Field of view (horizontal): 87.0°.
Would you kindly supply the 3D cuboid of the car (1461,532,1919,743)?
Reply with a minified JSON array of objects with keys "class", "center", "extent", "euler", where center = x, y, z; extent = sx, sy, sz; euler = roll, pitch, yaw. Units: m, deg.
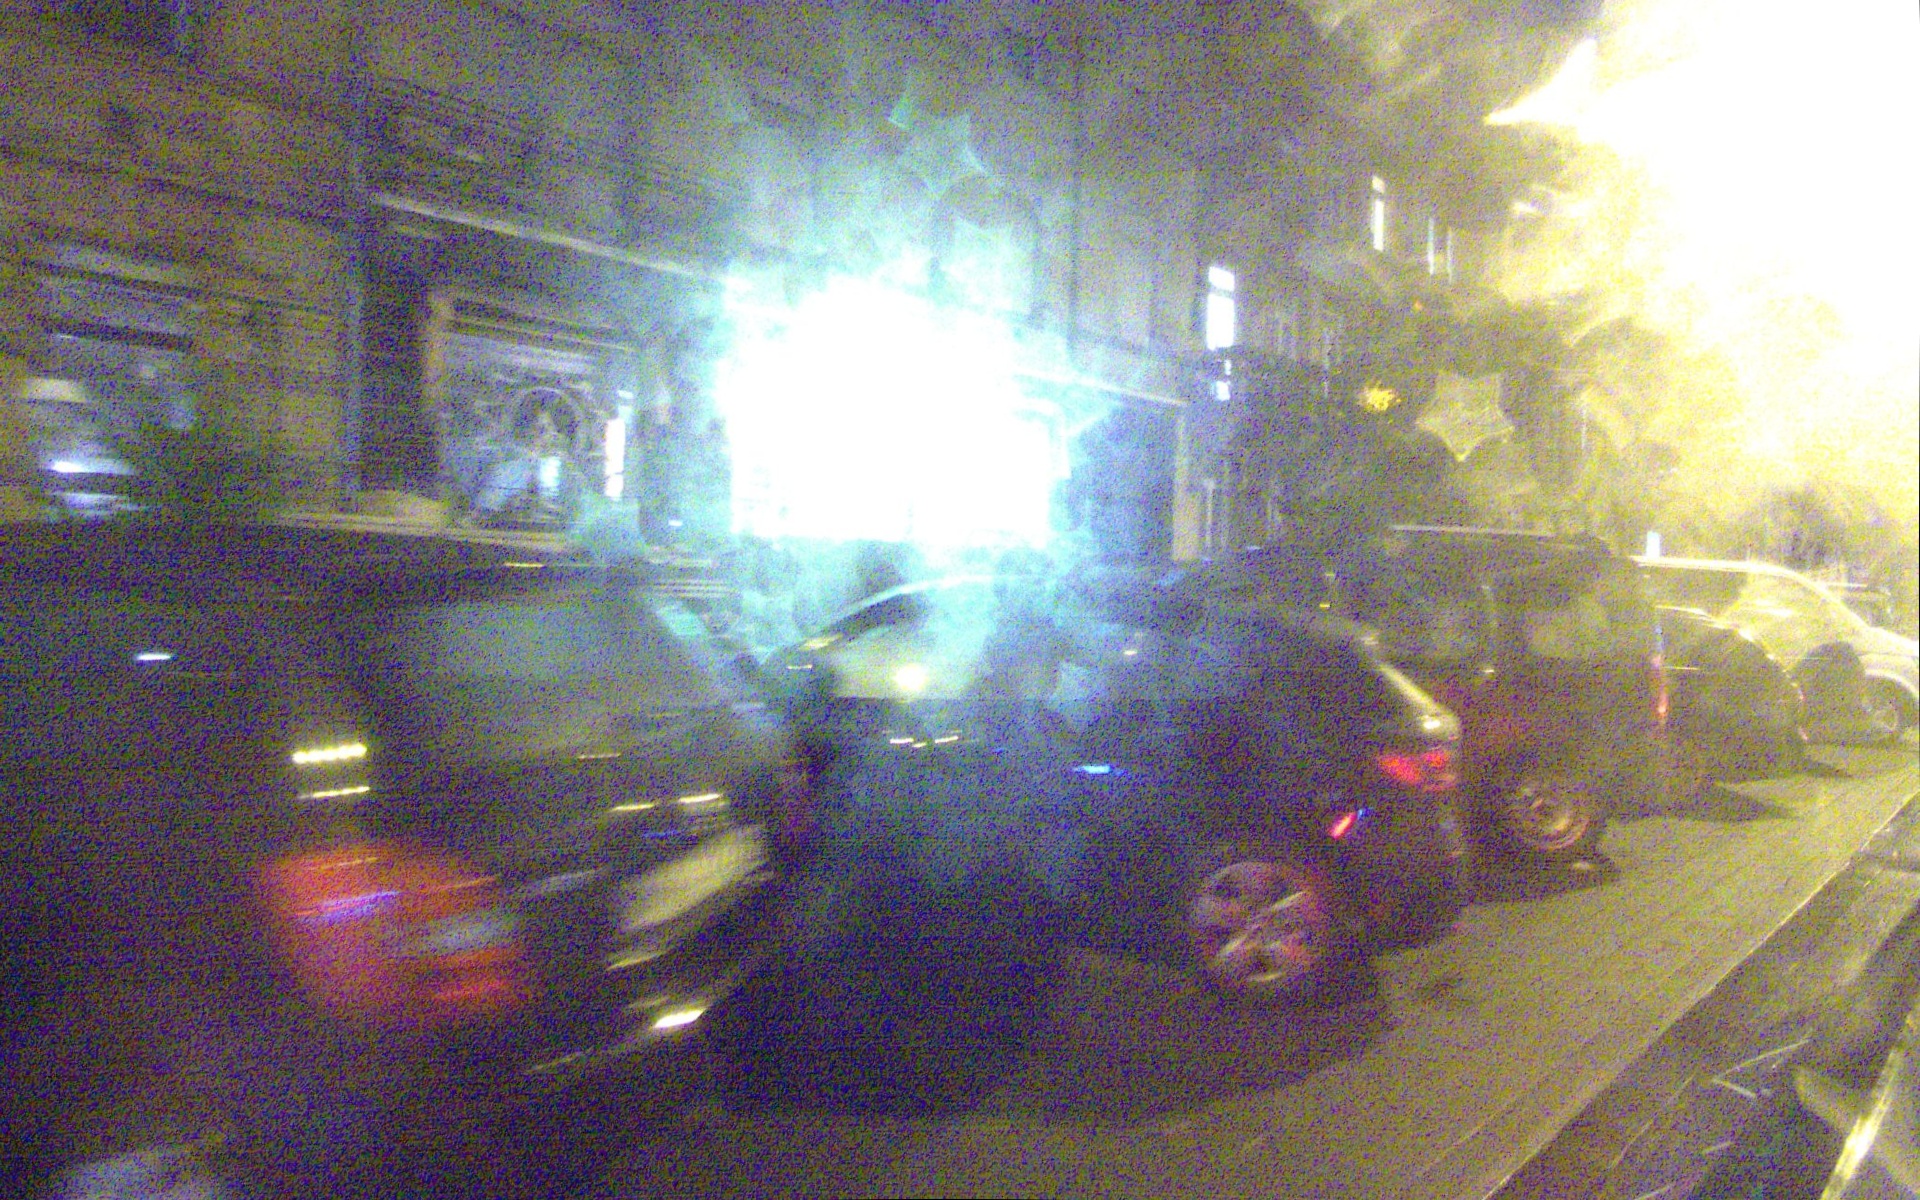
[{"class":"car","center":[8.688,0.336,11.938],"extent":[4.656,2.004,1.966],"euler":[4,3,21]}]

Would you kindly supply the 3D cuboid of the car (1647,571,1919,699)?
[{"class":"car","center":[13.029,0.488,15.466],"extent":[3.899,1.639,1.694],"euler":[4,3,28]}]

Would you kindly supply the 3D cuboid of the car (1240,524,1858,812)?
[{"class":"car","center":[4.400,0.406,8.252],"extent":[3.875,1.814,1.737],"euler":[4,2,13]}]

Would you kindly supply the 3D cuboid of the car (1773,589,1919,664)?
[{"class":"car","center":[21.329,0.633,23.121],"extent":[3.897,1.481,1.695],"euler":[4,3,27]}]

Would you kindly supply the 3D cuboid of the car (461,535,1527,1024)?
[{"class":"car","center":[0.045,0.524,4.547],"extent":[3.999,1.471,1.671],"euler":[2,1,15]}]

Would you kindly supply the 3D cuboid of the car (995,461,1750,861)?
[{"class":"car","center":[2.327,0.234,6.550],"extent":[3.875,1.966,1.737],"euler":[4,2,13]}]

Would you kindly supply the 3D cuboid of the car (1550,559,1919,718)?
[{"class":"car","center":[10.561,0.426,14.043],"extent":[3.899,1.763,1.694],"euler":[4,3,28]}]

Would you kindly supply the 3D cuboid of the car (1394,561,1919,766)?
[{"class":"car","center":[6.629,0.504,10.152],"extent":[3.880,1.568,1.735],"euler":[4,3,16]}]

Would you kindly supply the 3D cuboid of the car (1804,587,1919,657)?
[{"class":"car","center":[23.897,0.594,25.313],"extent":[3.897,1.581,1.695],"euler":[4,3,27]}]

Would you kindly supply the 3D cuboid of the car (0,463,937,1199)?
[{"class":"car","center":[-2.078,0.435,2.707],"extent":[3.657,1.470,1.649],"euler":[4,3,18]}]

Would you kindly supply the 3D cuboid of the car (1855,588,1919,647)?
[{"class":"car","center":[28.202,0.590,28.617],"extent":[3.897,1.581,1.695],"euler":[4,3,27]}]
